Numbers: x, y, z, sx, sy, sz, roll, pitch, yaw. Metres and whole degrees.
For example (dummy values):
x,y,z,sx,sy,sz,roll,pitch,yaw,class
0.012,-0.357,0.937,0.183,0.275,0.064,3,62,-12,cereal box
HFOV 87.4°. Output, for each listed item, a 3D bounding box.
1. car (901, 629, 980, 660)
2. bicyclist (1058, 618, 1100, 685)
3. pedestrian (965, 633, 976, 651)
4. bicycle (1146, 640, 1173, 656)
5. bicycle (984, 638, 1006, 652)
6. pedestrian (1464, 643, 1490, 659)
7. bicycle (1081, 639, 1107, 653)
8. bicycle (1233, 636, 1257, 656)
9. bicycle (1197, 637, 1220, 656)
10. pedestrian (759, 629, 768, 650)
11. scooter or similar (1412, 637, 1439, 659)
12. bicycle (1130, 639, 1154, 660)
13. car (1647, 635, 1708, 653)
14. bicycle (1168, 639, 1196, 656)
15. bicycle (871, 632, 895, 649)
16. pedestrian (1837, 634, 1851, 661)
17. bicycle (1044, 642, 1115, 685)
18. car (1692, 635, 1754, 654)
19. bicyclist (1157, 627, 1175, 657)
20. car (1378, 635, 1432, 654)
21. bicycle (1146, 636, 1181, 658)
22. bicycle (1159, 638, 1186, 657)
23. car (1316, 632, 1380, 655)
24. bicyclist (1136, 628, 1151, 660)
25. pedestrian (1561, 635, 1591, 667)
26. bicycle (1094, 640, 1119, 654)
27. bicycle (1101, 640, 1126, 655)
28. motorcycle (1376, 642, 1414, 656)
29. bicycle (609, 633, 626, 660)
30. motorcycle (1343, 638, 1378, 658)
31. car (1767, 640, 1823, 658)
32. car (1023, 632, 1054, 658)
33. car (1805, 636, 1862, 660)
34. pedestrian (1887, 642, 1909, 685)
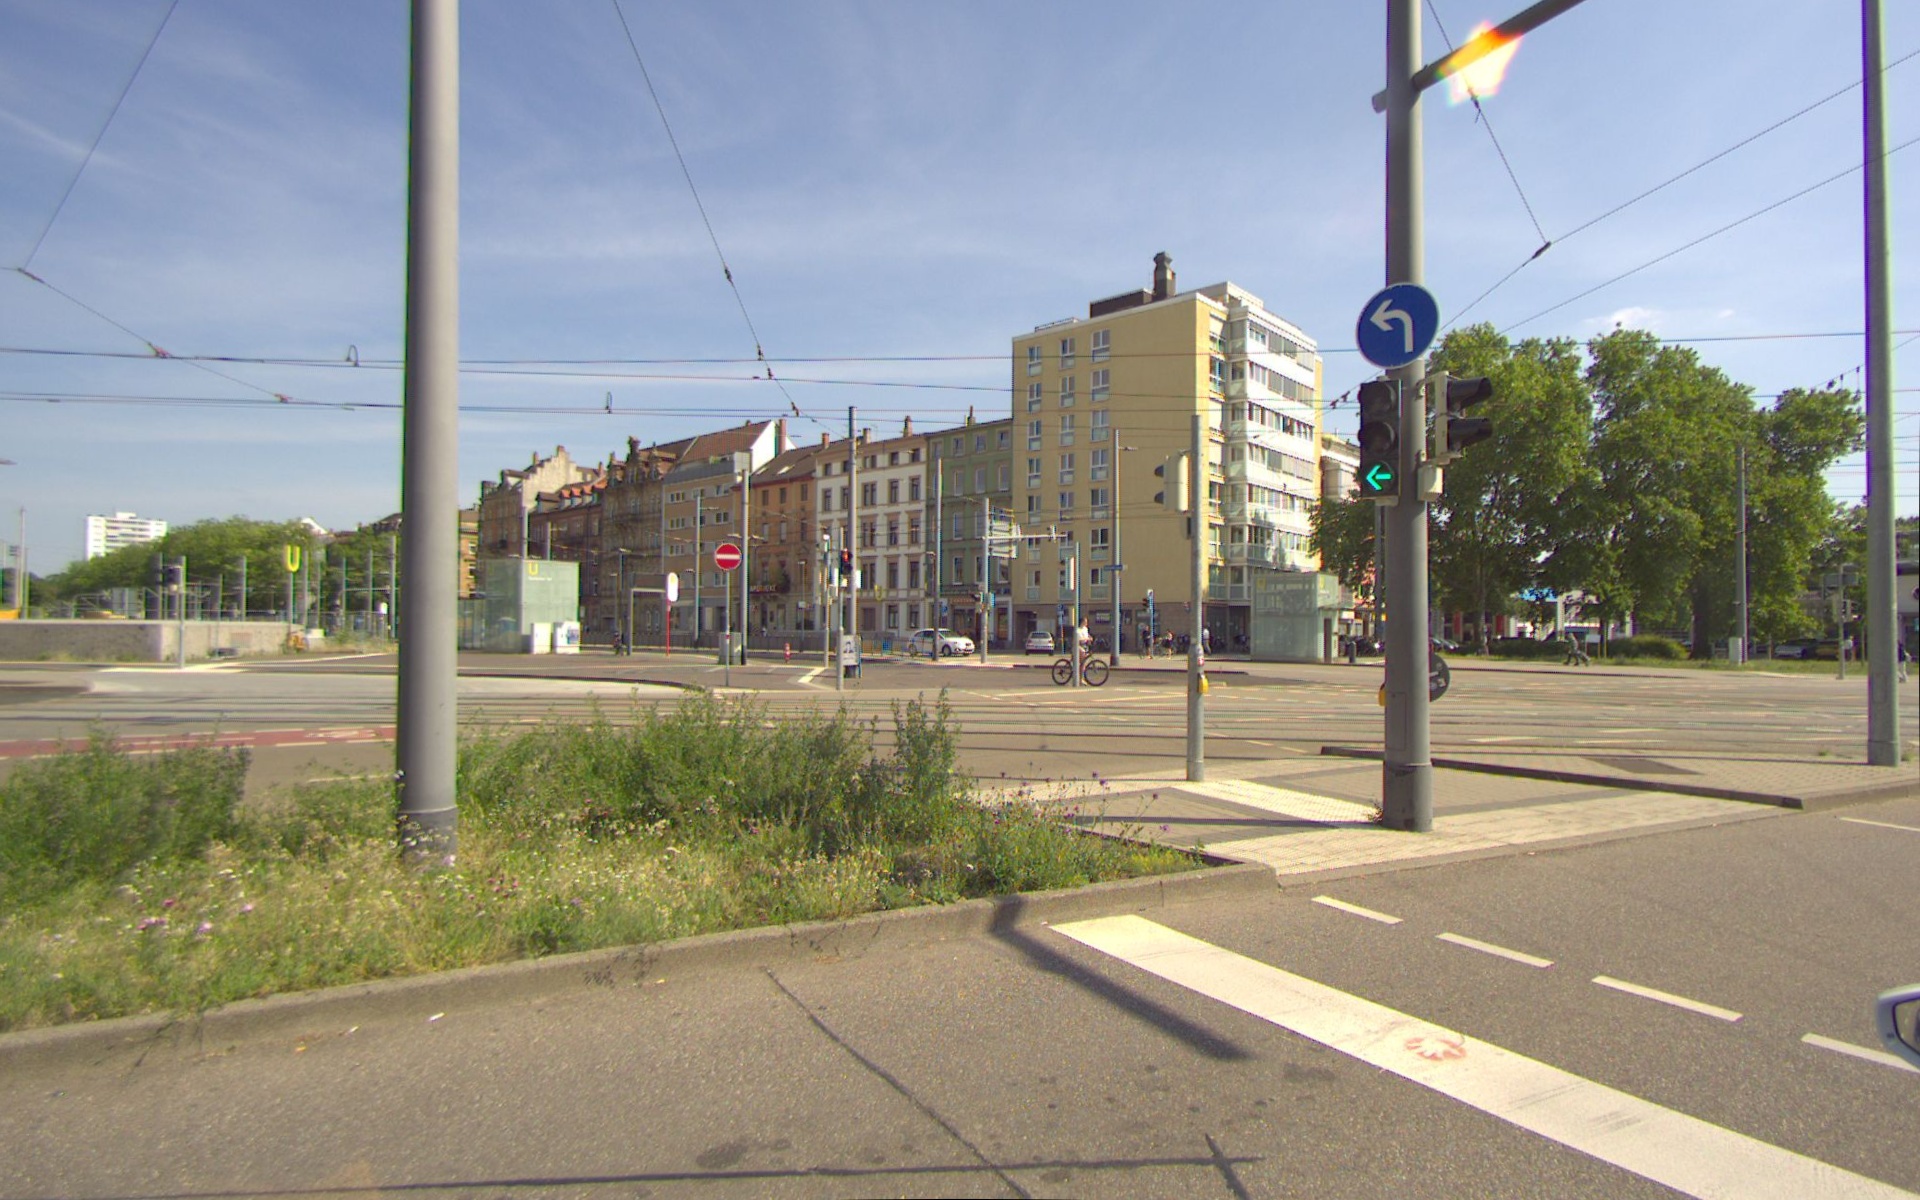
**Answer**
x,y,z,sx,sy,sz,roll,pitch,yaw,class
-1.051,2.298,52.684,4.066,1.417,1.750,-1,1,43,car
3.118,1.350,26.319,0.745,1.706,0.767,2,-4,-41,bicyclist
0.794,3.251,77.321,0.637,1.392,0.524,-1,-2,43,pedestrian
13.010,3.108,65.493,0.579,0.978,1.735,1,-2,-42,bicycle
2.603,3.381,75.352,1.755,0.977,0.412,-2,0,42,bicycle
30.070,2.957,58.417,1.159,0.904,0.818,-1,-2,41,pedestrian
9.207,3.172,69.149,1.732,0.928,0.580,-2,-2,44,bicycle
18.180,2.931,64.052,1.740,1.235,0.578,1,-2,-37,bicycle
16.066,3.005,64.939,0.534,1.201,1.878,-1,-2,44,bicycle
-16.142,3.243,82.569,0.518,1.687,0.551,-1,-2,43,pedestrian
24.907,2.570,53.787,0.509,1.134,1.358,1,-2,-20,scooter or similar
9.894,2.695,54.560,0.574,1.145,1.791,-1,-3,36,bicycle
64.113,3.962,89.821,1.977,1.389,3.967,2,0,-30,car
14.212,3.039,64.363,0.579,1.056,1.736,1,-2,-40,bicycle
-5.376,2.825,70.214,0.589,1.109,1.738,0,-2,42,bicycle
52.616,2.819,59.792,0.455,1.617,0.393,2,0,-7,pedestrian
3.114,1.666,26.326,0.745,1.098,1.827,2,-4,-40,bicycle
67.818,3.935,89.375,1.978,1.572,3.966,1,-2,-31,car
10.876,2.221,53.129,0.606,1.593,0.727,2,-3,-30,bicyclist
36.451,3.625,82.249,3.683,1.358,1.733,2,0,44,car
10.785,2.472,53.150,1.776,1.145,0.748,2,-2,-30,bicycle
13.587,3.025,64.132,0.578,1.100,1.740,-2,0,-35,bicycle
28.152,3.144,72.962,3.944,1.459,1.880,2,0,44,car
9.920,2.382,54.393,0.575,1.757,0.615,-1,-3,36,bicyclist
29.203,2.412,47.599,1.100,1.422,0.654,2,0,38,pedestrian
9.911,3.191,67.826,0.579,0.928,1.737,1,-2,-39,bicycle
10.418,3.213,68.063,0.579,0.928,1.737,1,-2,-39,bicycle
26.077,2.941,60.224,1.997,0.853,0.641,0,-1,3,motorcycle
-15.278,2.062,44.780,0.408,1.085,1.651,1,0,-28,bicycle
22.576,2.694,56.618,0.631,1.076,2.028,1,-2,-22,motorcycle
67.734,3.954,81.485,3.947,1.261,1.987,2,0,-26,car
4.755,2.748,61.142,1.777,1.458,4.003,1,-4,4,car
69.227,3.778,79.640,3.947,1.706,1.987,2,0,-26,car
36.263,2.454,38.837,0.446,1.626,0.400,2,0,24,pedestrian
